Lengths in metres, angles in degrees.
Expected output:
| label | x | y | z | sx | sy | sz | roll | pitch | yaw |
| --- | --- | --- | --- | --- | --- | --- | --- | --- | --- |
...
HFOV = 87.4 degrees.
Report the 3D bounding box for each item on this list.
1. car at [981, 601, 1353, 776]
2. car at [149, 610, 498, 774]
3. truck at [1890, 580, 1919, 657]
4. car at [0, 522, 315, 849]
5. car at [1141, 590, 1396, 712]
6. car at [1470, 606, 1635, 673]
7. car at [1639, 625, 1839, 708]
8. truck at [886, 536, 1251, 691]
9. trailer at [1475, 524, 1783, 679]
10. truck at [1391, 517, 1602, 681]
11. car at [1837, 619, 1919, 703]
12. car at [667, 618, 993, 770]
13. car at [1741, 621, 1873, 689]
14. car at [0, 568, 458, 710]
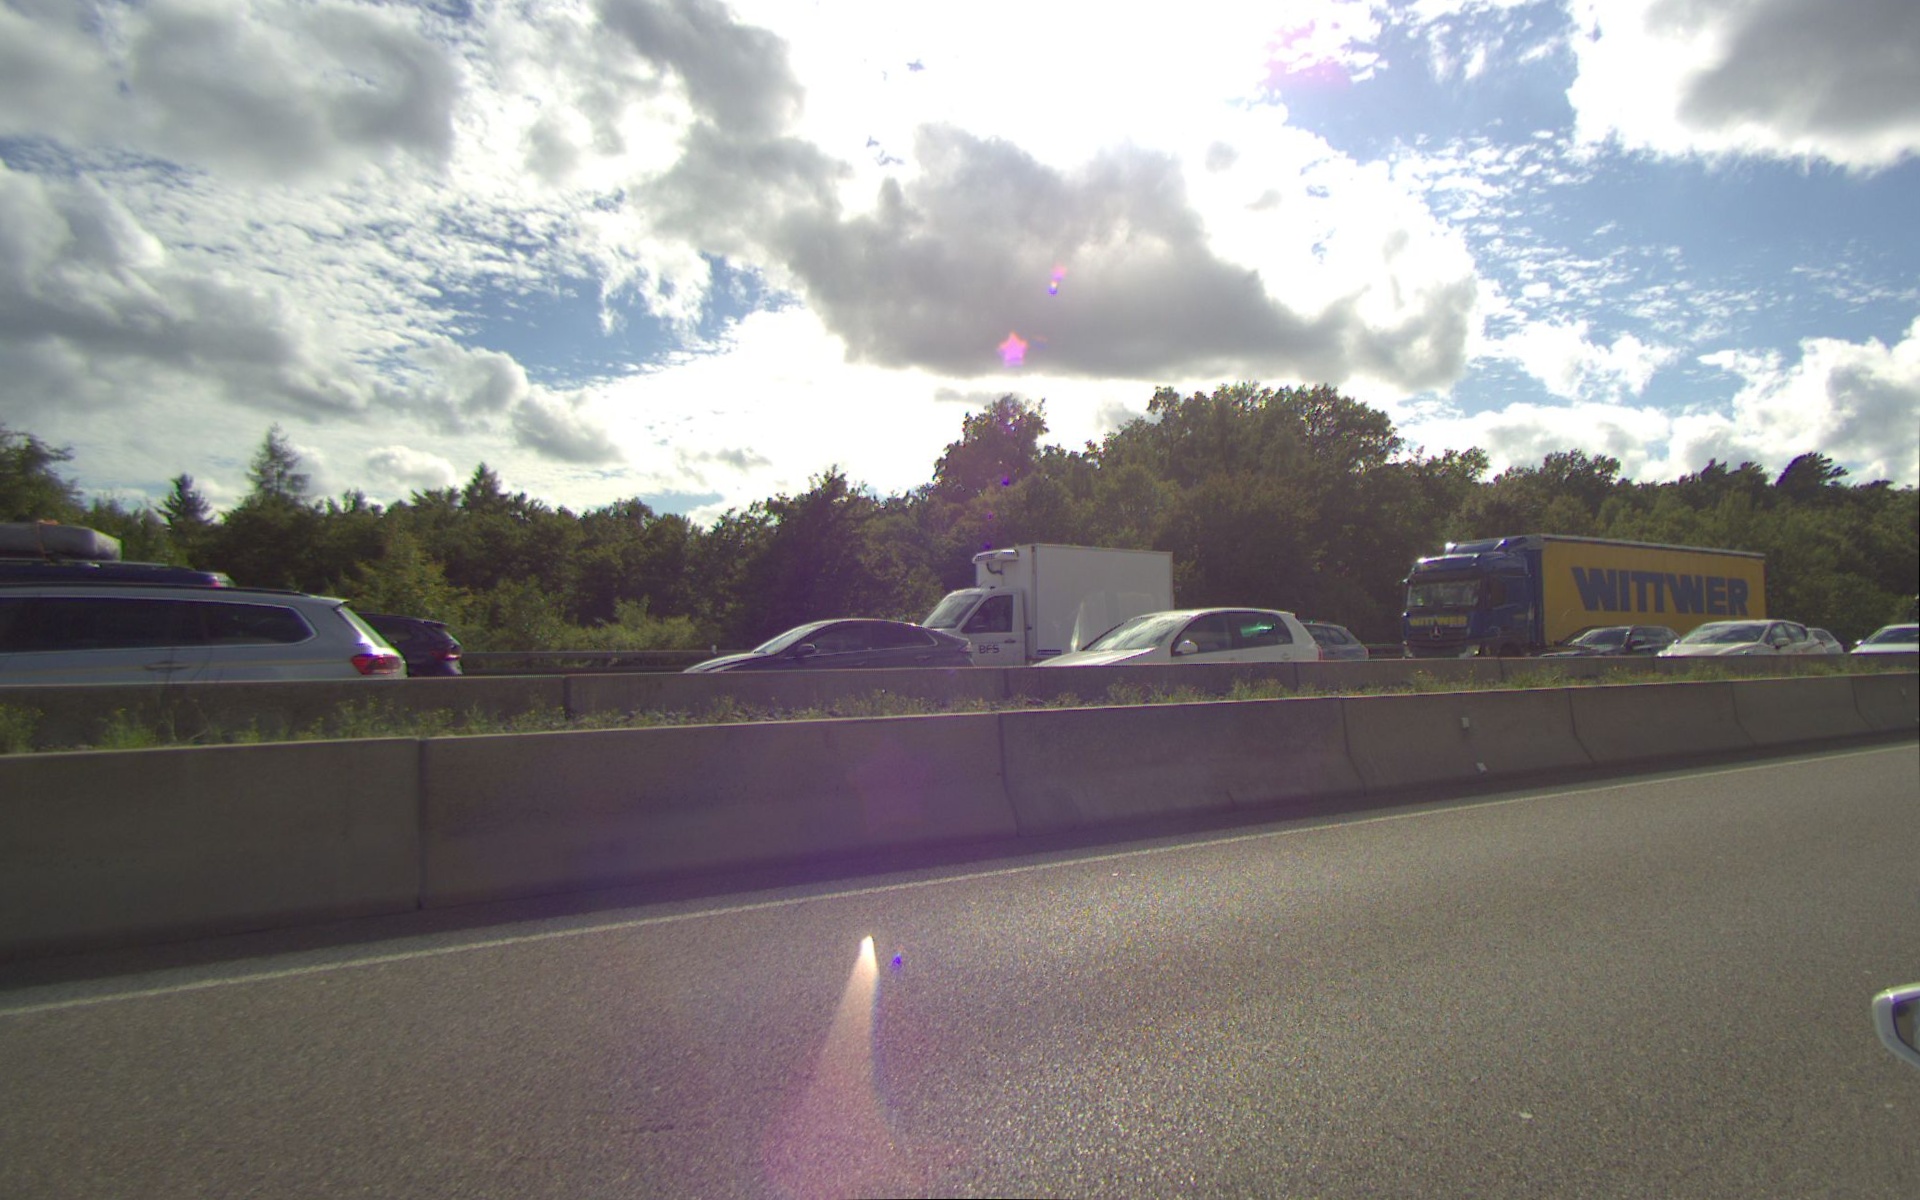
| label | x | y | z | sx | sy | sz | roll | pitch | yaw |
| --- | --- | --- | --- | --- | --- | --- | --- | --- | --- |
| car | 2.587 | 0.956 | 12.374 | 4.245 | 1.766 | 1.984 | 1 | 1 | -30 |
| car | -8.901 | 1.243 | 14.395 | 3.954 | 2.040 | 1.635 | 3 | -1 | -31 |
| truck | 55.912 | 1.147 | 57.268 | 5.392 | 4.204 | 2.797 | 4 | -1 | -31 |
| car | -9.602 | 0.761 | 9.874 | 5.339 | 3.003 | 1.984 | 1 | 1 | -30 |
| car | 5.819 | 0.931 | 18.817 | 4.604 | 2.040 | 1.983 | 3 | -1 | -31 |
| car | 13.889 | 0.935 | 23.524 | 3.792 | 1.419 | 1.724 | 3 | -1 | -31 |
| car | 15.245 | 1.238 | 19.635 | 3.954 | 1.396 | 1.748 | 1 | 1 | -31 |
| truck | 2.484 | 0.281 | 21.391 | 7.856 | 2.839 | 2.317 | 1 | 1 | -30 |
| trailer | 22.020 | 0.292 | 32.516 | 13.505 | 4.290 | 2.757 | 3 | -1 | -31 |
| truck | 15.159 | 0.074 | 28.348 | 5.553 | 4.203 | 2.722 | 2 | -1 | -31 |
| car | 22.931 | 1.449 | 24.040 | 4.247 | 1.840 | 1.678 | 3 | -1 | -31 |
| car | -1.778 | 1.260 | 14.260 | 4.247 | 1.840 | 1.678 | 3 | -1 | -31 |
| car | 24.961 | 1.605 | 29.571 | 4.247 | 1.840 | 1.678 | 3 | -1 | -31 |
| car | -6.098 | 0.229 | 7.022 | 4.551 | 0.869 | 1.627 | 1 | 1 | -30 |
